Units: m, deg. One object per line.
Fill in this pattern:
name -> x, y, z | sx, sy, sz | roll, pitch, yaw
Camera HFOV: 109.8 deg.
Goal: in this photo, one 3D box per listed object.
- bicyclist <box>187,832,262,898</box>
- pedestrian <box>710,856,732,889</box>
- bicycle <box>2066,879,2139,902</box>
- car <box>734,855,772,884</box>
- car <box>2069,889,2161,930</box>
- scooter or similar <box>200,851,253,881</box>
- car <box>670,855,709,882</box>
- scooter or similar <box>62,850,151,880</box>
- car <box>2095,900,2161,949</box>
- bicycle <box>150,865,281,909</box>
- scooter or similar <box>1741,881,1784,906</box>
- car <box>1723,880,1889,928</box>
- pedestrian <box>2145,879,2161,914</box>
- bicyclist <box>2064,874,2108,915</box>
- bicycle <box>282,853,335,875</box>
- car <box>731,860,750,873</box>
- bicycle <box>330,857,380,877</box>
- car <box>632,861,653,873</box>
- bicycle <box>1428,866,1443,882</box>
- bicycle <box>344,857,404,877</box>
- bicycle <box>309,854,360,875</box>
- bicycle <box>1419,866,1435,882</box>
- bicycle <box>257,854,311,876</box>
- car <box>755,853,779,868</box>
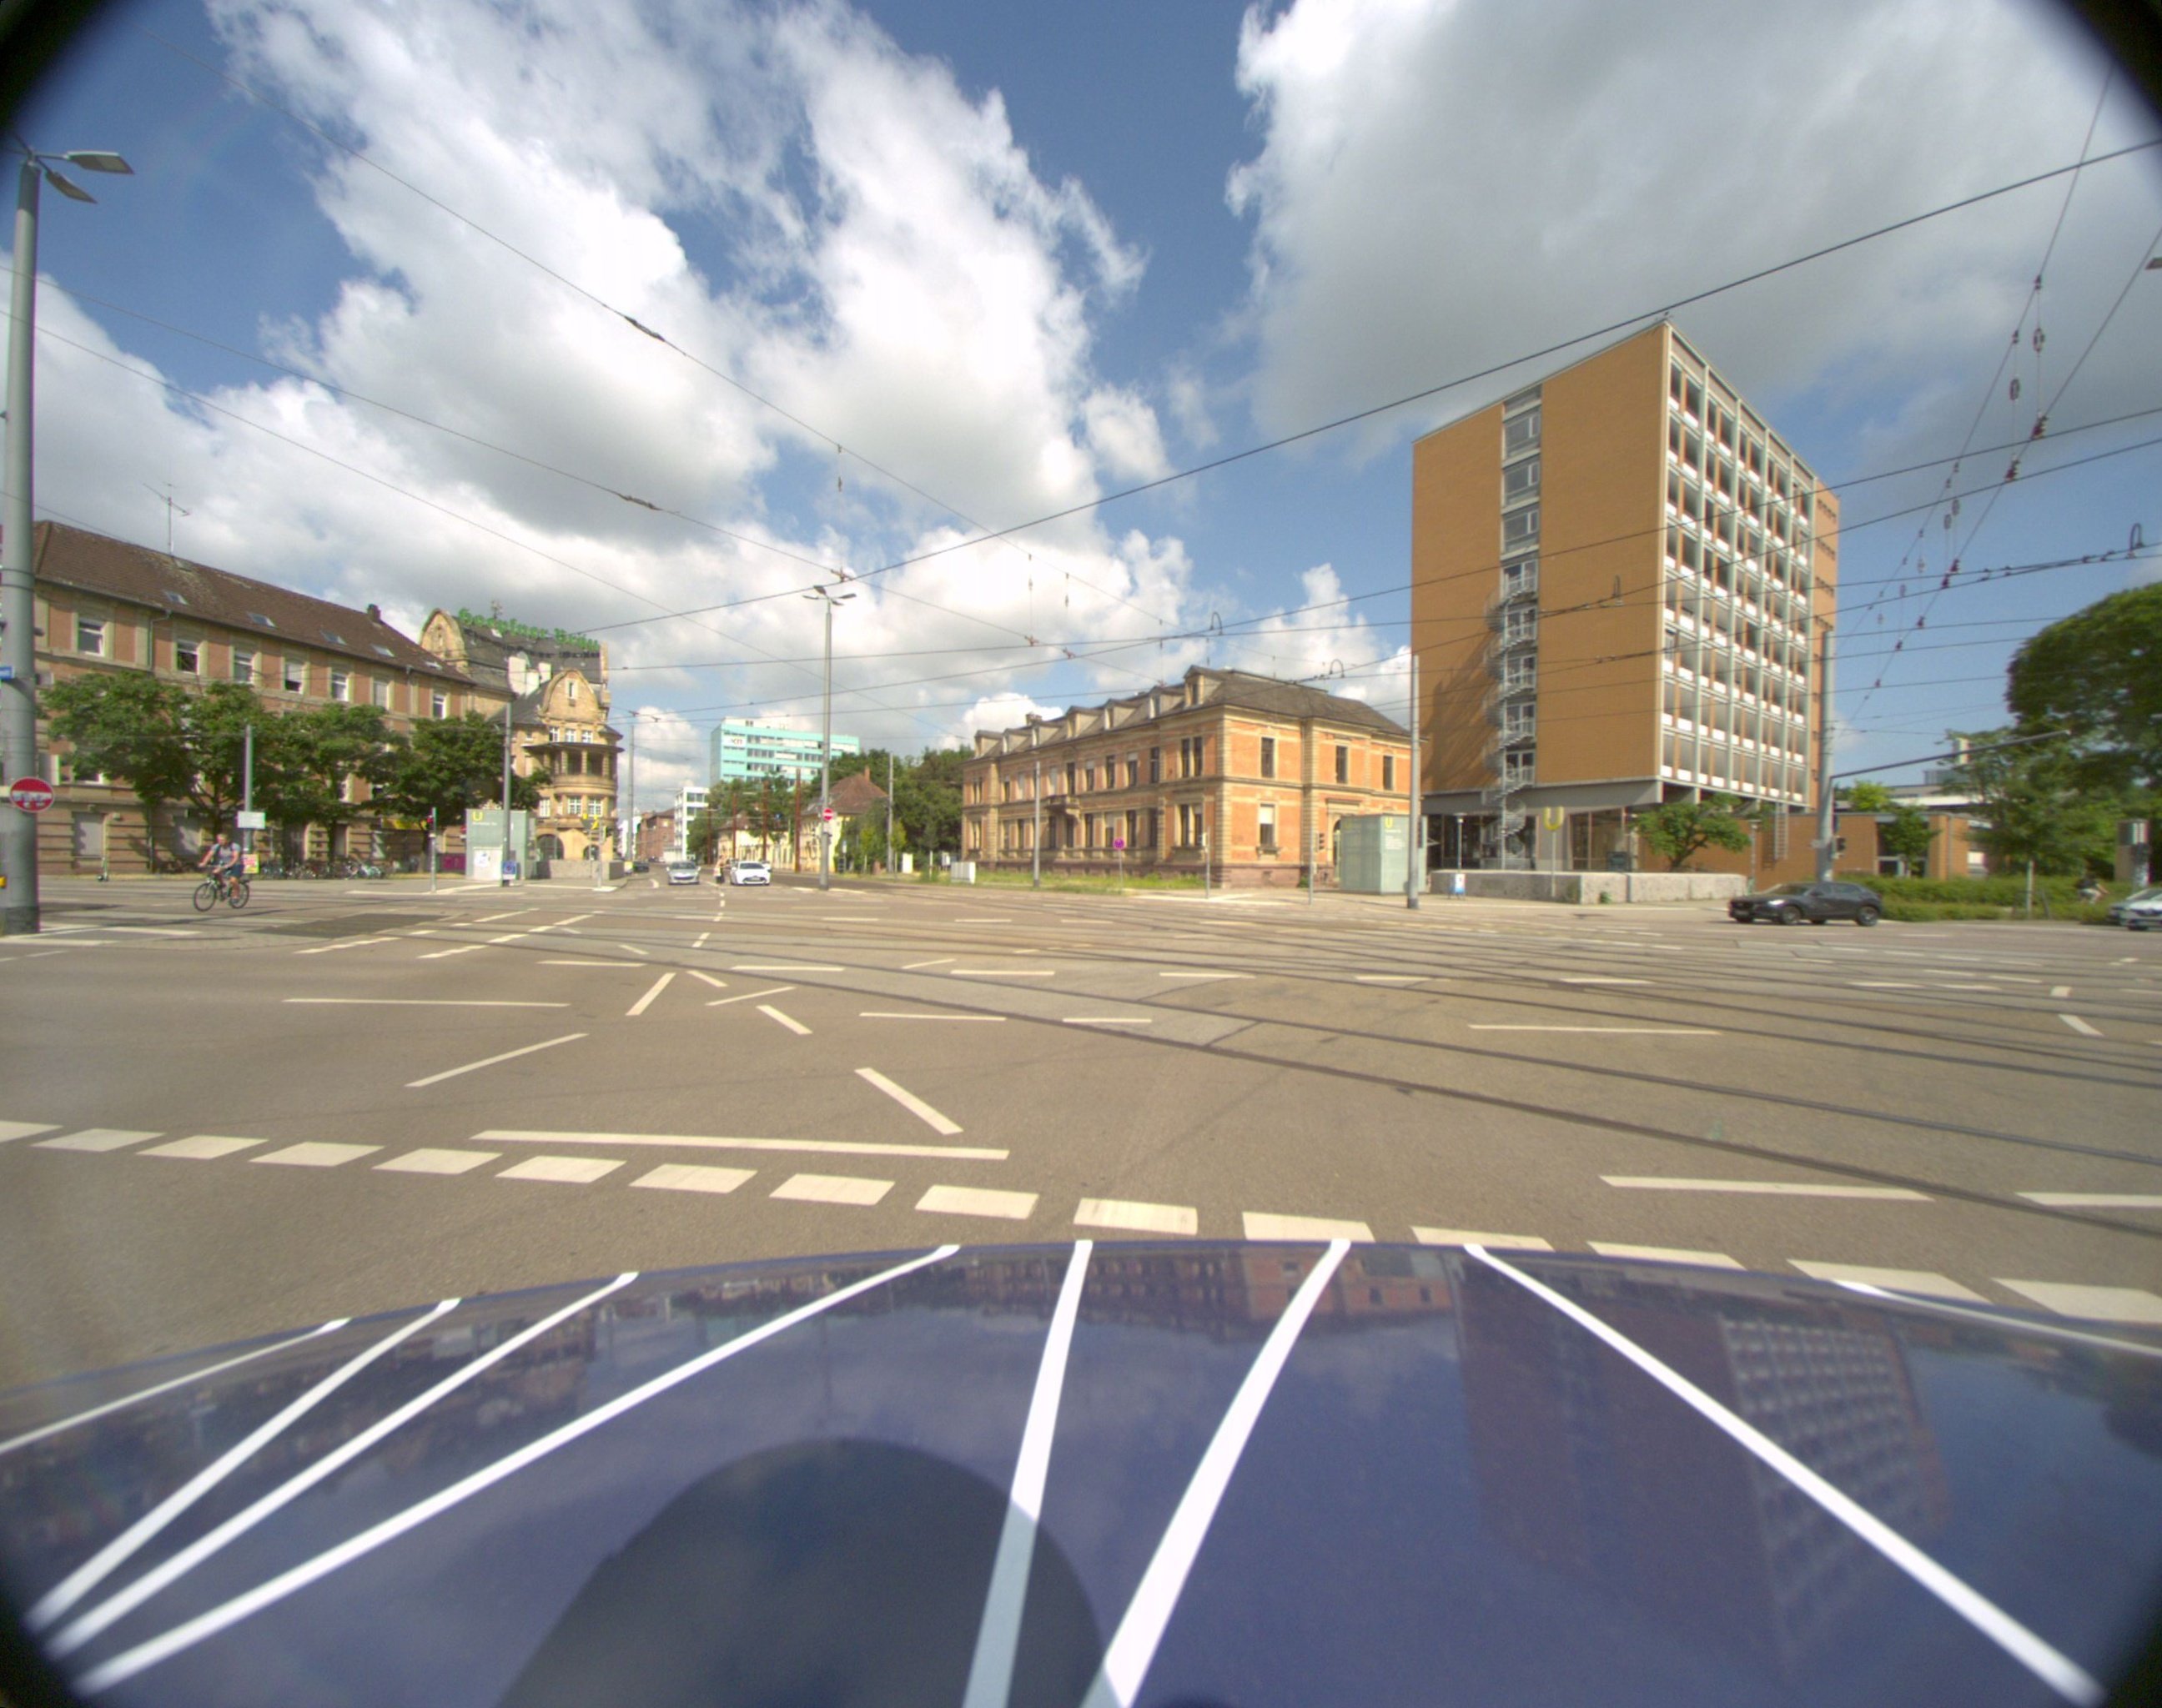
bicyclist -> -22.013, 0.291, 19.551 | 0.615, 1.664, 1.148 | 0, -2, -1
pedestrian -> -16.493, 0.838, 34.795 | 0.543, 1.507, 0.744 | 1, 0, 18
bicycle -> 43.233, 1.529, 32.164 | 1.806, 0.870, 0.761 | 1, 3, 8
car -> -19.239, 0.937, 44.616 | 1.959, 1.586, 4.499 | 1, -2, -23
car -> 38.018, 1.948, 27.172 | 4.079, 1.376, 1.587 | 0, -2, -10
scooter or similar -> -44.556, 0.610, 39.631 | 2.011, 1.473, 0.881 | 1, 0, 10
car -> -24.062, 0.940, 46.852 | 1.841, 1.586, 3.993 | 1, -2, -23
scooter or similar -> -45.573, 0.517, 35.569 | 2.801, 1.377, 1.181 | 0, -2, 4
car -> 34.982, 2.167, 23.711 | 4.673, 1.420, 1.763 | 0, -2, -5
bicycle -> -22.100, 0.844, 19.484 | 0.877, 1.063, 2.198 | 0, -2, -2
scooter or similar -> 34.862, 2.026, 38.880 | 1.532, 1.176, 0.435 | 3, 1, 32
car -> 24.673, 1.664, 25.944 | 4.210, 1.566, 1.647 | 0, -2, -3
pedestrian -> 49.879, 1.946, 34.926 | 0.954, 1.569, 0.771 | 1, 0, 39
bicyclist -> 42.828, 1.717, 32.385 | 0.936, 1.662, 0.579 | 1, 1, 8
bicycle -> -43.498, 0.577, 42.788 | 2.680, 1.158, 0.762 | 1, -1, 12
car -> -54.258, 1.997, 121.062 | 2.004, 2.001, 3.990 | 1, -2, -37
bicycle -> -42.852, 0.765, 44.861 | 2.680, 1.159, 0.762 | 1, 0, 12
car -> -54.546, 1.644, 94.396 | 1.874, 1.375, 3.990 | 1, -2, -36
bicycle -> 27.759, 1.564, 59.491 | 1.477, 1.240, 0.427 | 1, 0, -35
bicycle -> -42.591, 0.777, 45.802 | 2.684, 1.158, 0.761 | 0, -2, -7
bicycle -> -43.107, 0.605, 43.873 | 2.680, 1.158, 0.762 | -1, -2, 13
bicycle -> 27.354, 1.571, 60.011 | 1.477, 1.240, 0.427 | 1, 0, -35
bicycle -> -43.810, 0.578, 41.781 | 2.680, 1.159, 0.762 | 1, 0, 12
car -> -43.702, 0.948, 105.714 | 2.004, 2.001, 3.990 | 1, -2, -37
